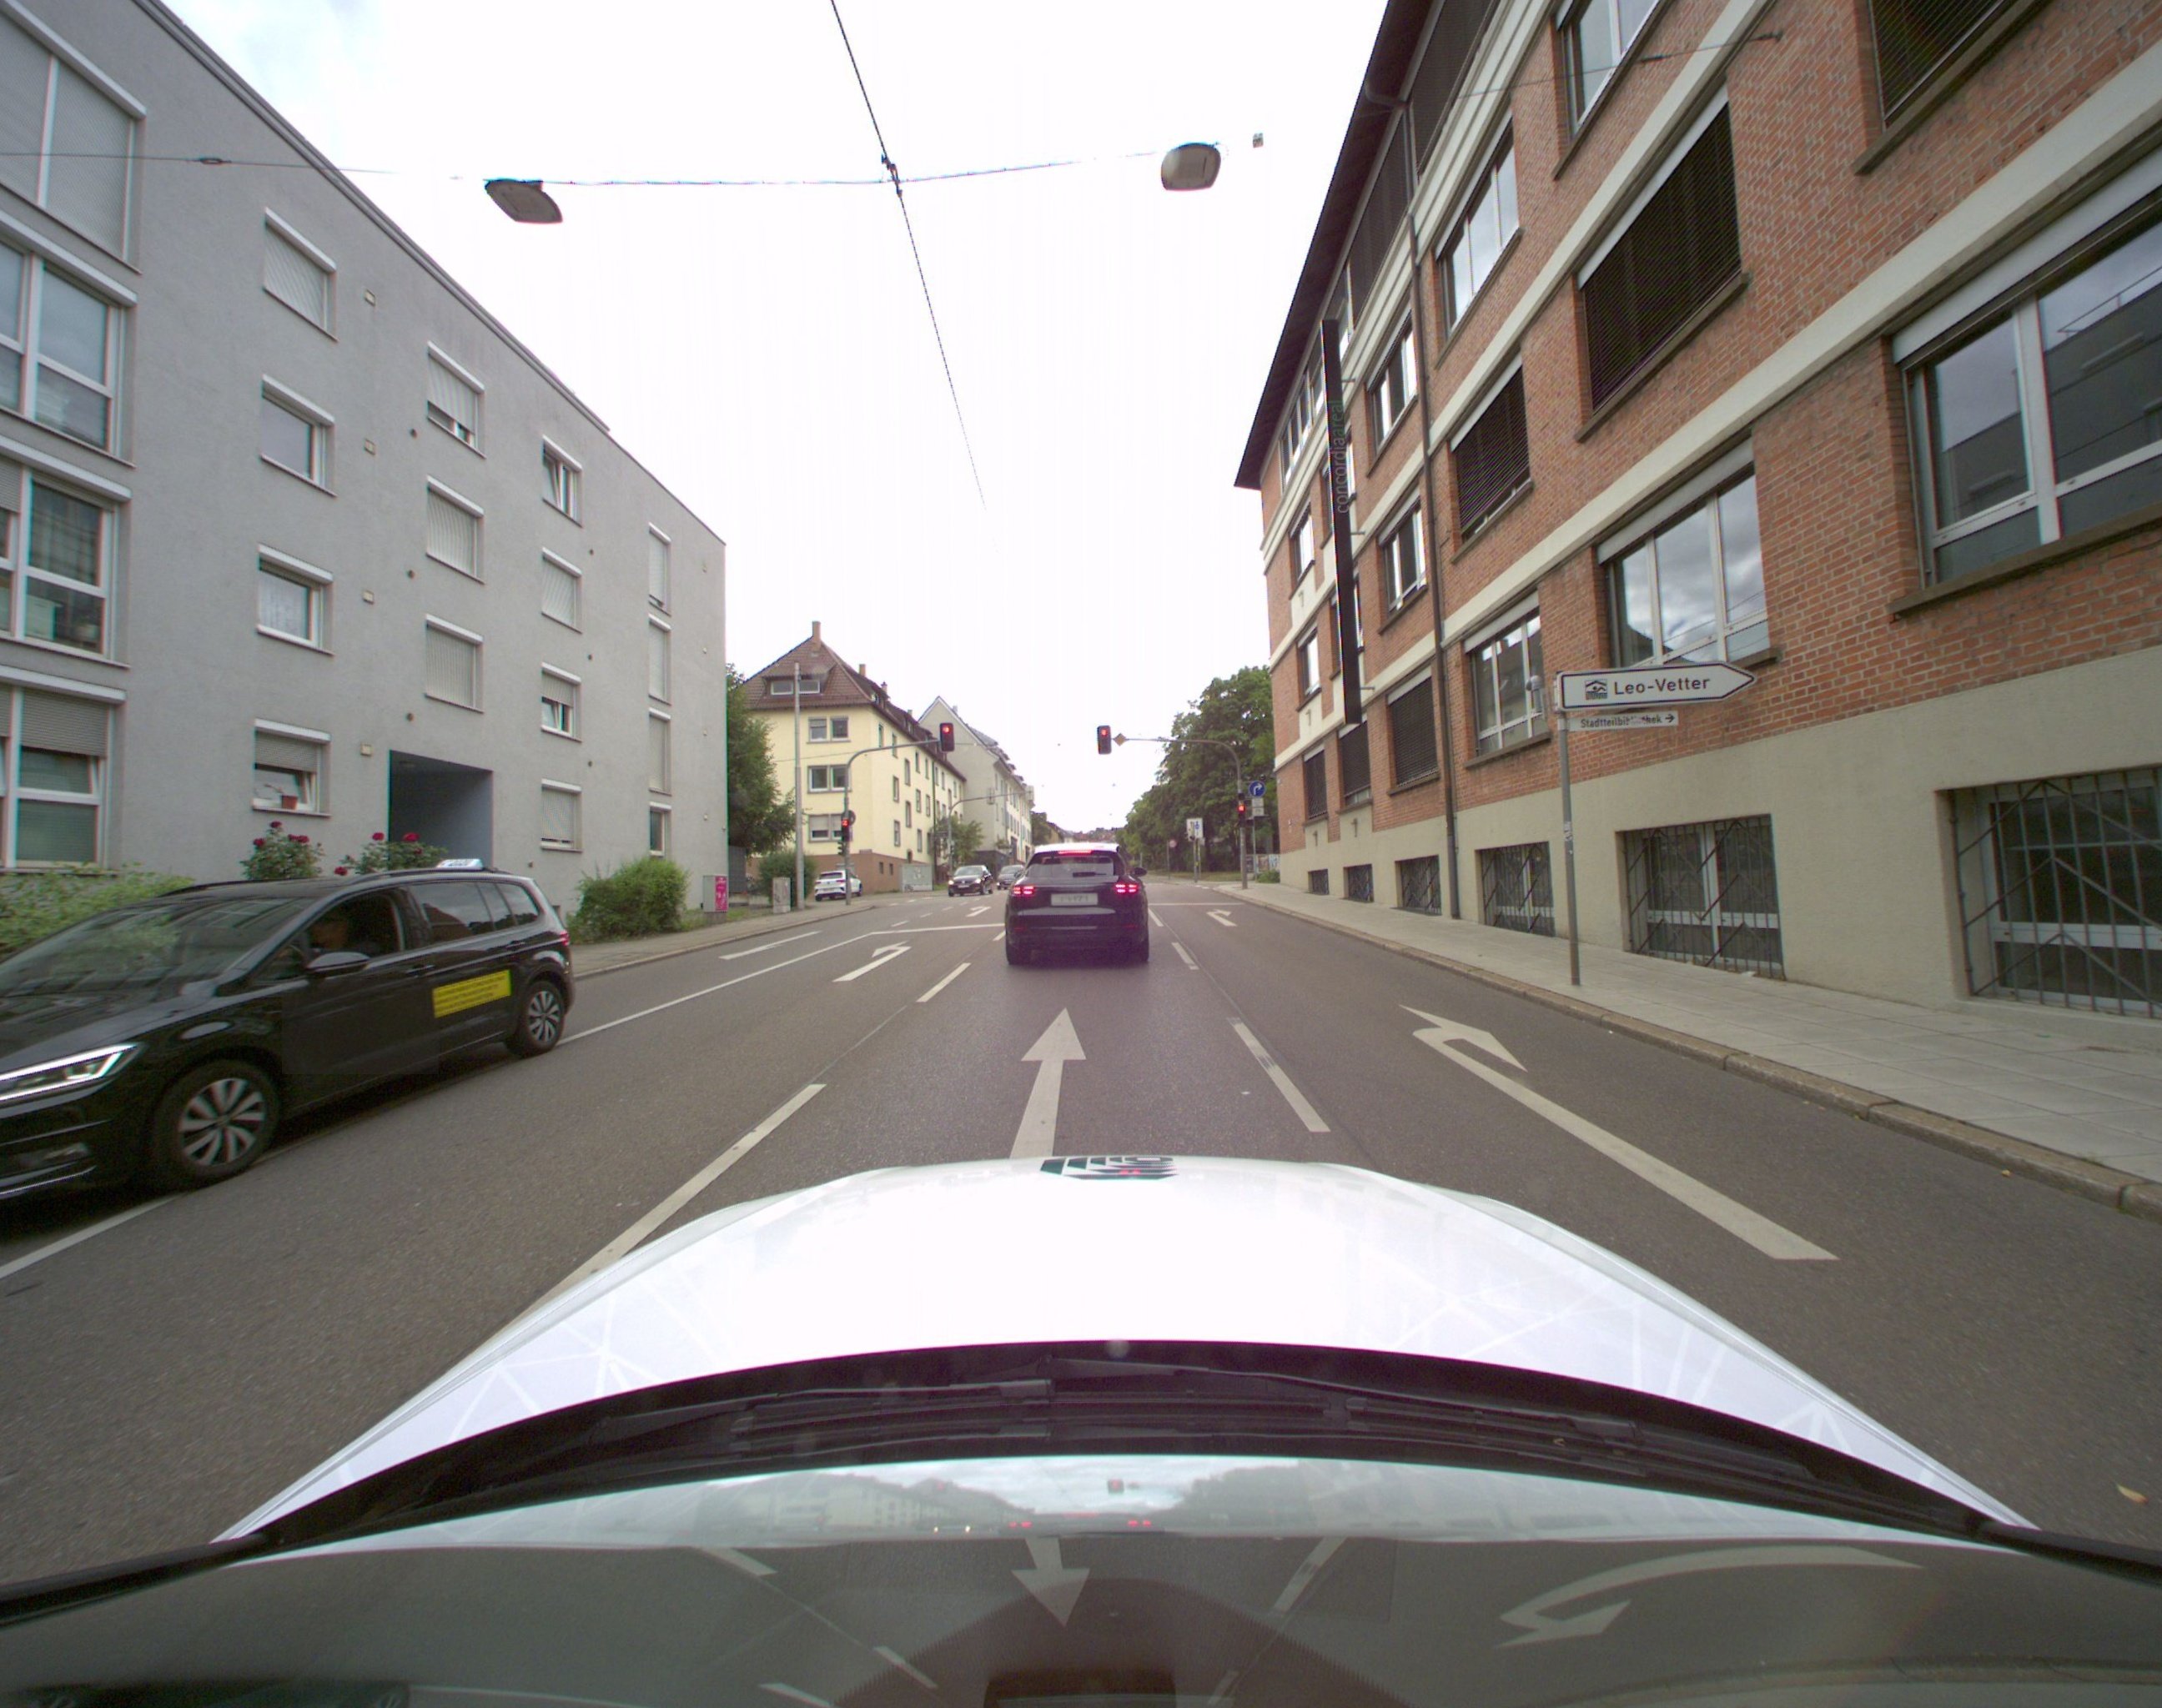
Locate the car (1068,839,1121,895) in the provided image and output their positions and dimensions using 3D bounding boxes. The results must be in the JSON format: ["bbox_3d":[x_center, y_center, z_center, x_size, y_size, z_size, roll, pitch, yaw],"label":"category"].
[{"bbox_3d":[0.573,0.464,32.125,1.957,2.042,4.137,-1,0,2],"label":"car"}]

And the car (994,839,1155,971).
[{"bbox_3d":[0.004,0.646,12.536,2.040,1.666,4.269,-1,0,2],"label":"car"}]

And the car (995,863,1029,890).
[{"bbox_3d":[-4.556,1.479,54.577,1.697,1.587,3.938,-4,0,2],"label":"car"}]

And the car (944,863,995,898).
[{"bbox_3d":[-5.242,1.209,38.779,1.667,1.400,3.796,-4,0,2],"label":"car"}]

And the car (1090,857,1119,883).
[{"bbox_3d":[1.570,1.009,53.872,1.820,1.605,4.137,-1,0,2],"label":"car"}]

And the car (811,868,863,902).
[{"bbox_3d":[-13.201,1.640,44.325,1.686,1.555,3.763,-4,0,-2],"label":"car"}]

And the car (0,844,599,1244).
[{"bbox_3d":[-5.456,0.894,5.609,1.780,1.706,4.301,-4,0,-4],"label":"car"}]

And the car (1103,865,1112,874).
[{"bbox_3d":[5.298,3.085,163.458,1.820,1.605,4.137,-1,0,2],"label":"car"}]
